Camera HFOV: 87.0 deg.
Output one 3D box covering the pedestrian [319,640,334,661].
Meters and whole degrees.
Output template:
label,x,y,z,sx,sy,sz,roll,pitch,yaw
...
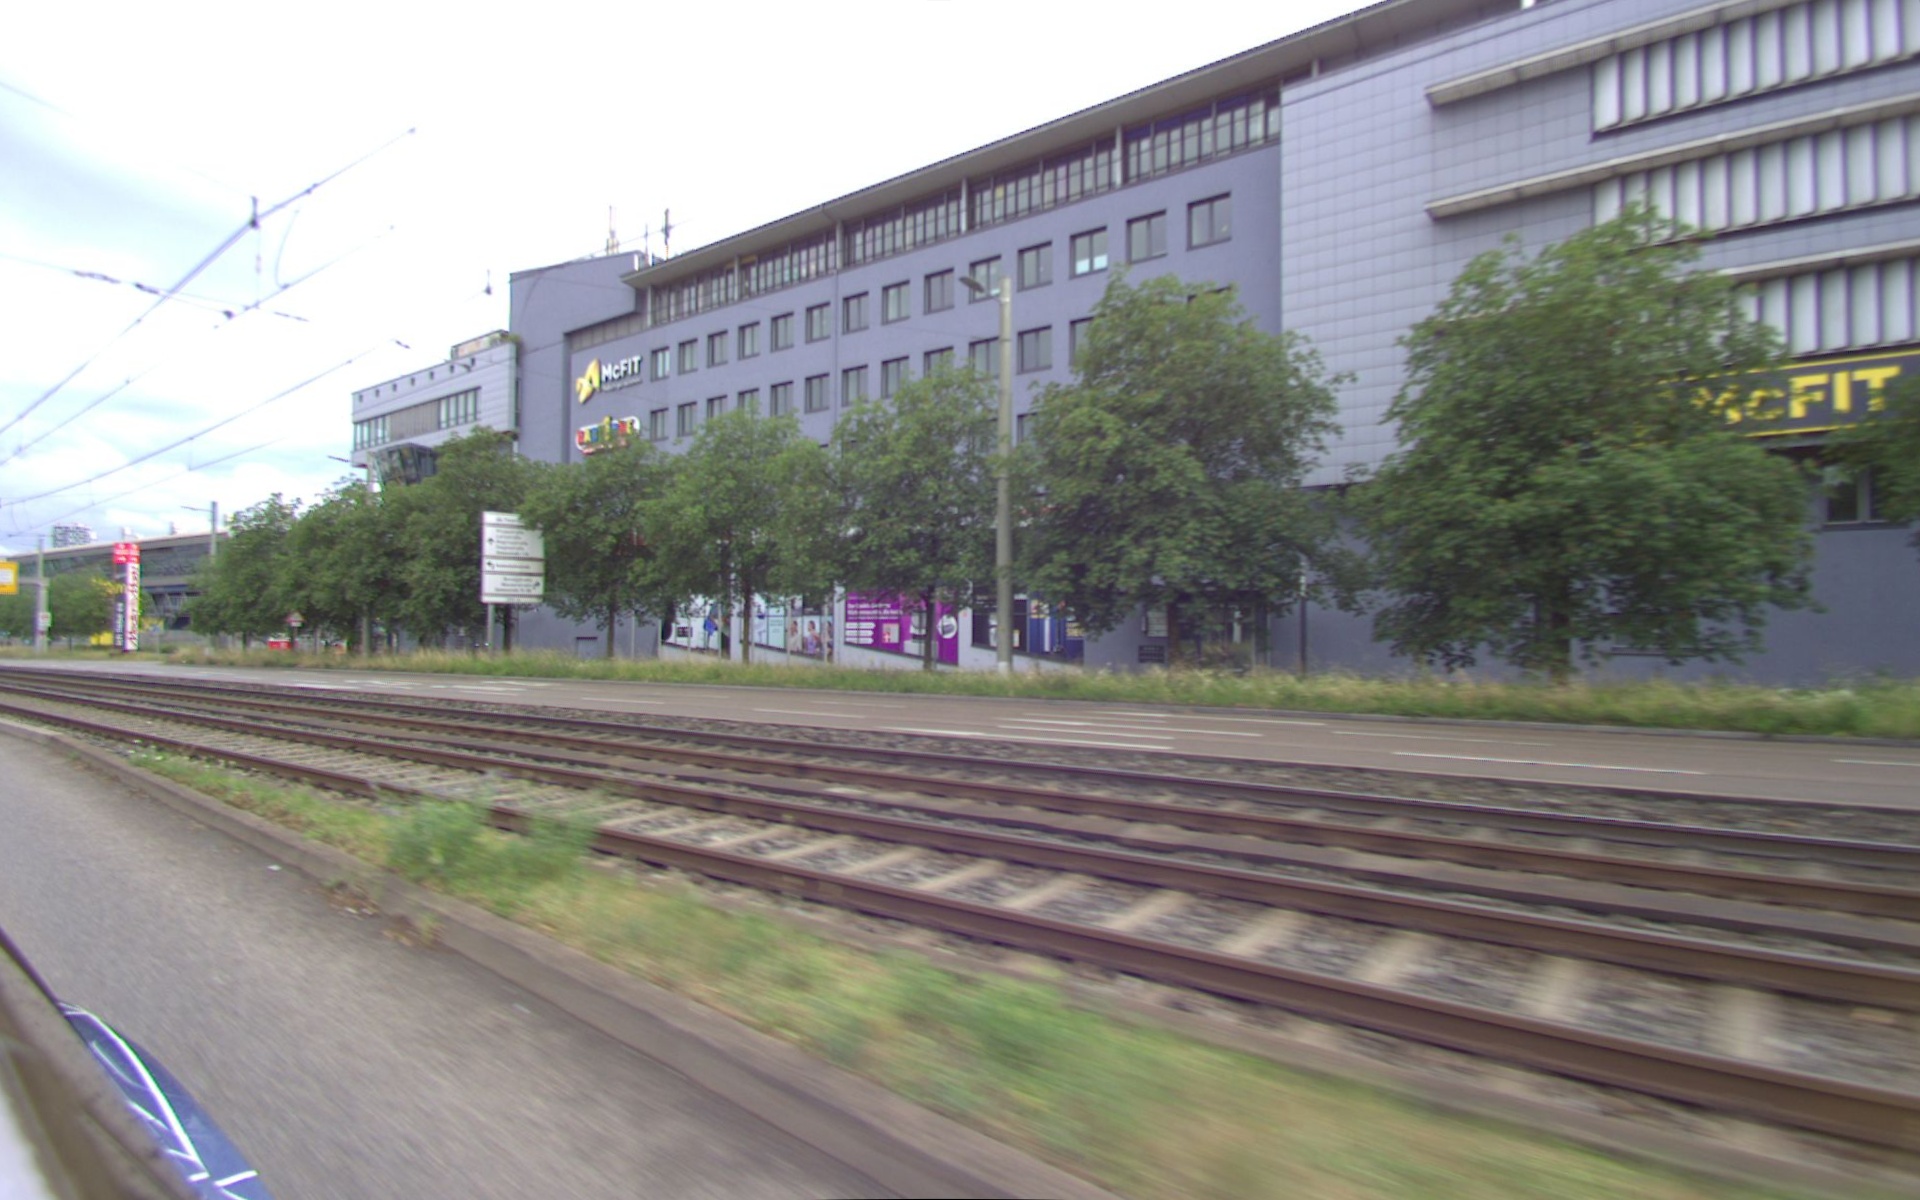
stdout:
label,x,y,z,sx,sy,sz,roll,pitch,yaw
pedestrian,-50.621,4.019,80.843,0.578,1.692,0.802,-2,-3,27
